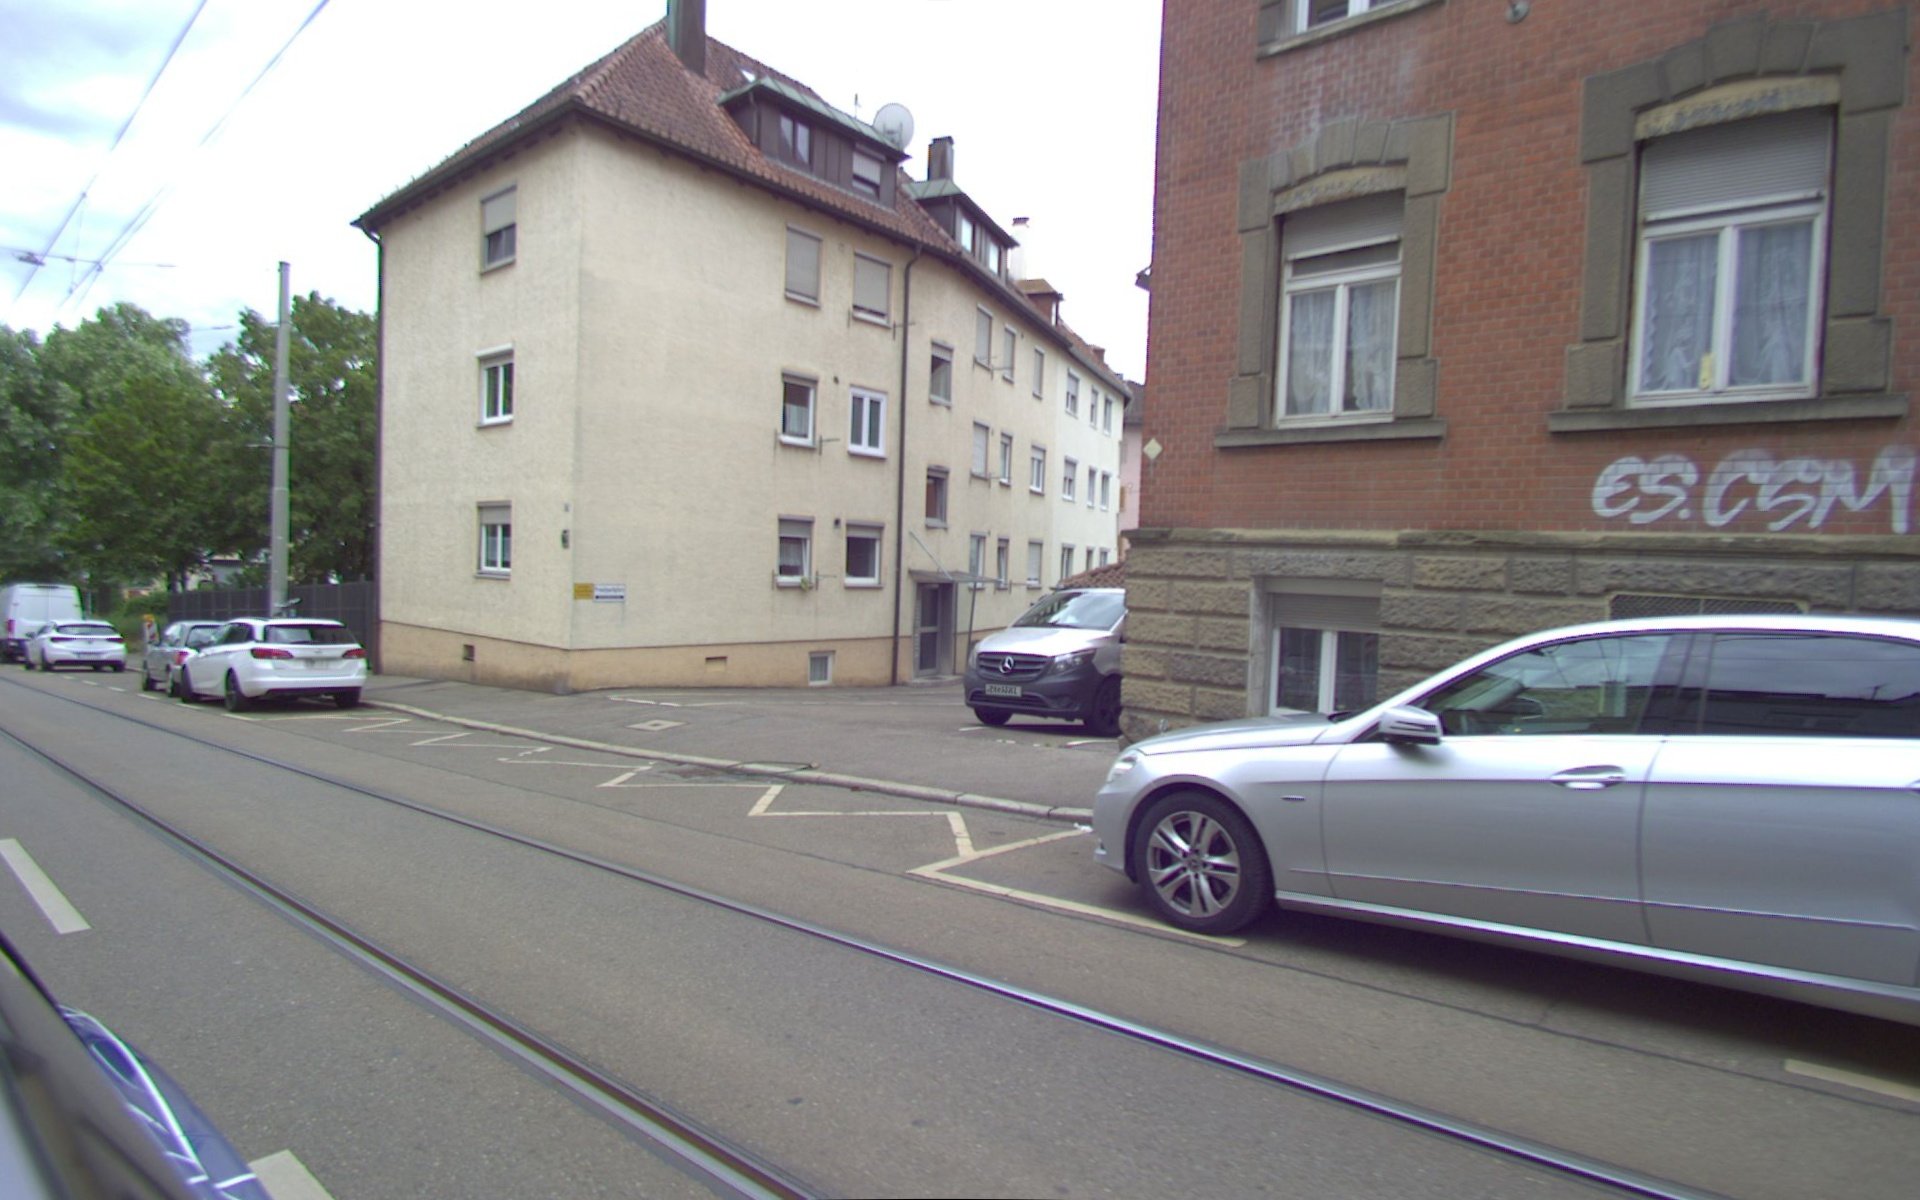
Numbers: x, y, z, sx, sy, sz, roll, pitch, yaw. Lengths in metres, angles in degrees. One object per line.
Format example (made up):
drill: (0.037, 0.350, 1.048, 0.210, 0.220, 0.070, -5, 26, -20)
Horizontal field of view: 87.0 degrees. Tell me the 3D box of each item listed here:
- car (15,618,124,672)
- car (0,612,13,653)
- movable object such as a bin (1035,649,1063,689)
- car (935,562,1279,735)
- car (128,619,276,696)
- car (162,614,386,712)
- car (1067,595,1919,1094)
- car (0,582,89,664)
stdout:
car: (-25.079, 1.251, 28.454, 4.311, 1.413, 1.701, -1, -4, 41)
car: (-43.426, 1.394, 44.794, 4.667, 1.789, 1.743, -1, -4, 43)
movable object such as a bin: (2.194, 1.679, 24.826, 0.539, 0.904, 0.491, 3, 2, 19)
car: (2.158, 0.755, 13.268, 1.940, 1.832, 5.119, -1, -6, 41)
car: (-15.020, 1.107, 19.990, 3.806, 1.379, 1.583, -2, -4, 42)
car: (-11.605, 1.011, 16.996, 4.622, 1.440, 1.809, -1, -4, 39)
car: (2.918, 0.748, 4.035, 4.837, 1.440, 1.808, -1, -3, 42)
car: (-32.502, 0.836, 35.272, 6.213, 2.627, 2.137, -1, -4, 40)
